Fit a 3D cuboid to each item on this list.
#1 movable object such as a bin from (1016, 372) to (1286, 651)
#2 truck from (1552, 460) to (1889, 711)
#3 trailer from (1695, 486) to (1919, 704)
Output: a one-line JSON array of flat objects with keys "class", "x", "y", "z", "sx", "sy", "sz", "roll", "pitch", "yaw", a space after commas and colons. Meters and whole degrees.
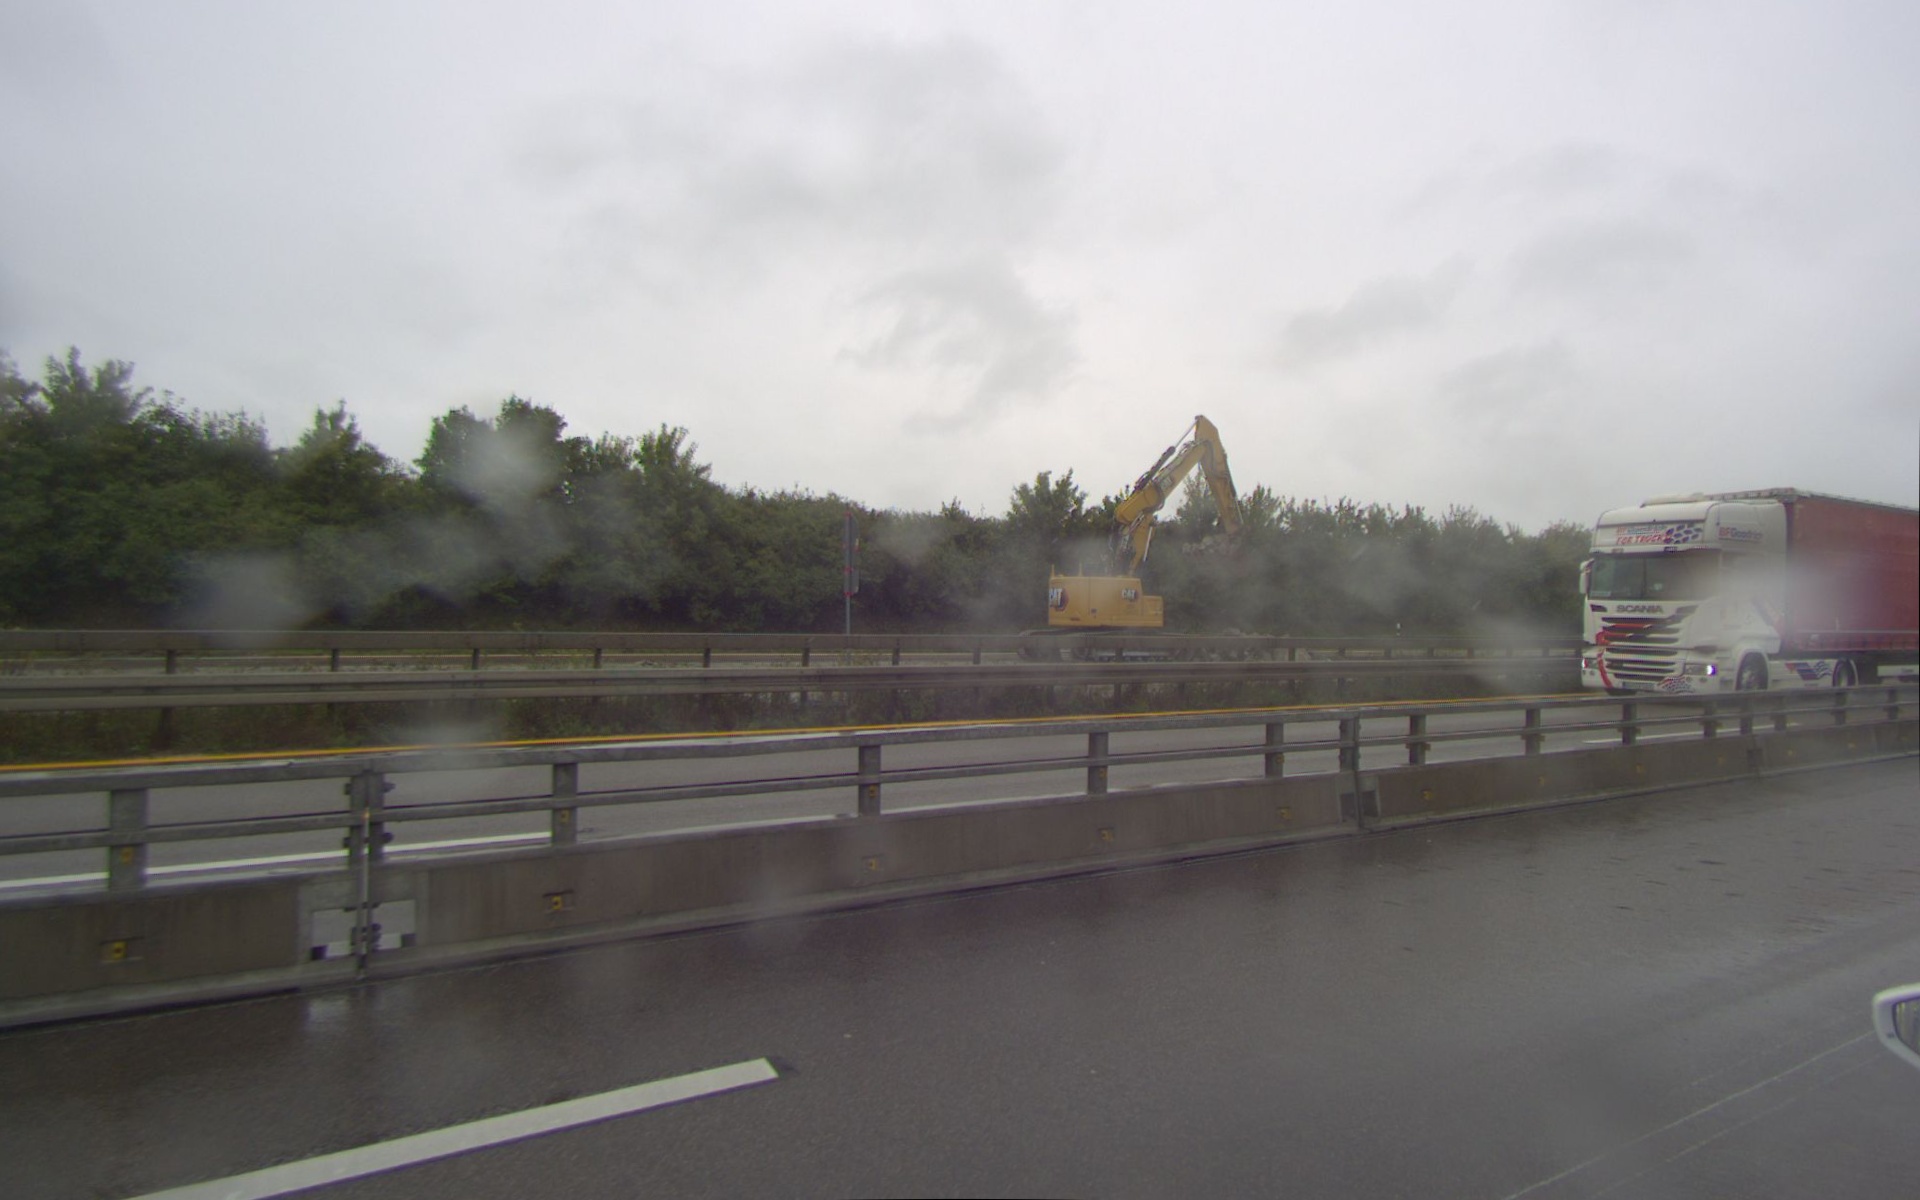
[{"class": "movable object such as a bin", "x": 6.420, "y": -2.558, "z": 33.446, "sx": 8.206, "sy": 8.252, "sz": 3.581, "roll": 2, "pitch": 0, "yaw": -29}, {"class": "truck", "x": 15.408, "y": -0.134, "z": 20.289, "sx": 6.717, "sy": 4.328, "sz": 2.995, "roll": 2, "pitch": -2, "yaw": -29}, {"class": "trailer", "x": 22.027, "y": 0.076, "z": 24.017, "sx": 10.926, "sy": 4.351, "sz": 2.963, "roll": 2, "pitch": -2, "yaw": -29}]
